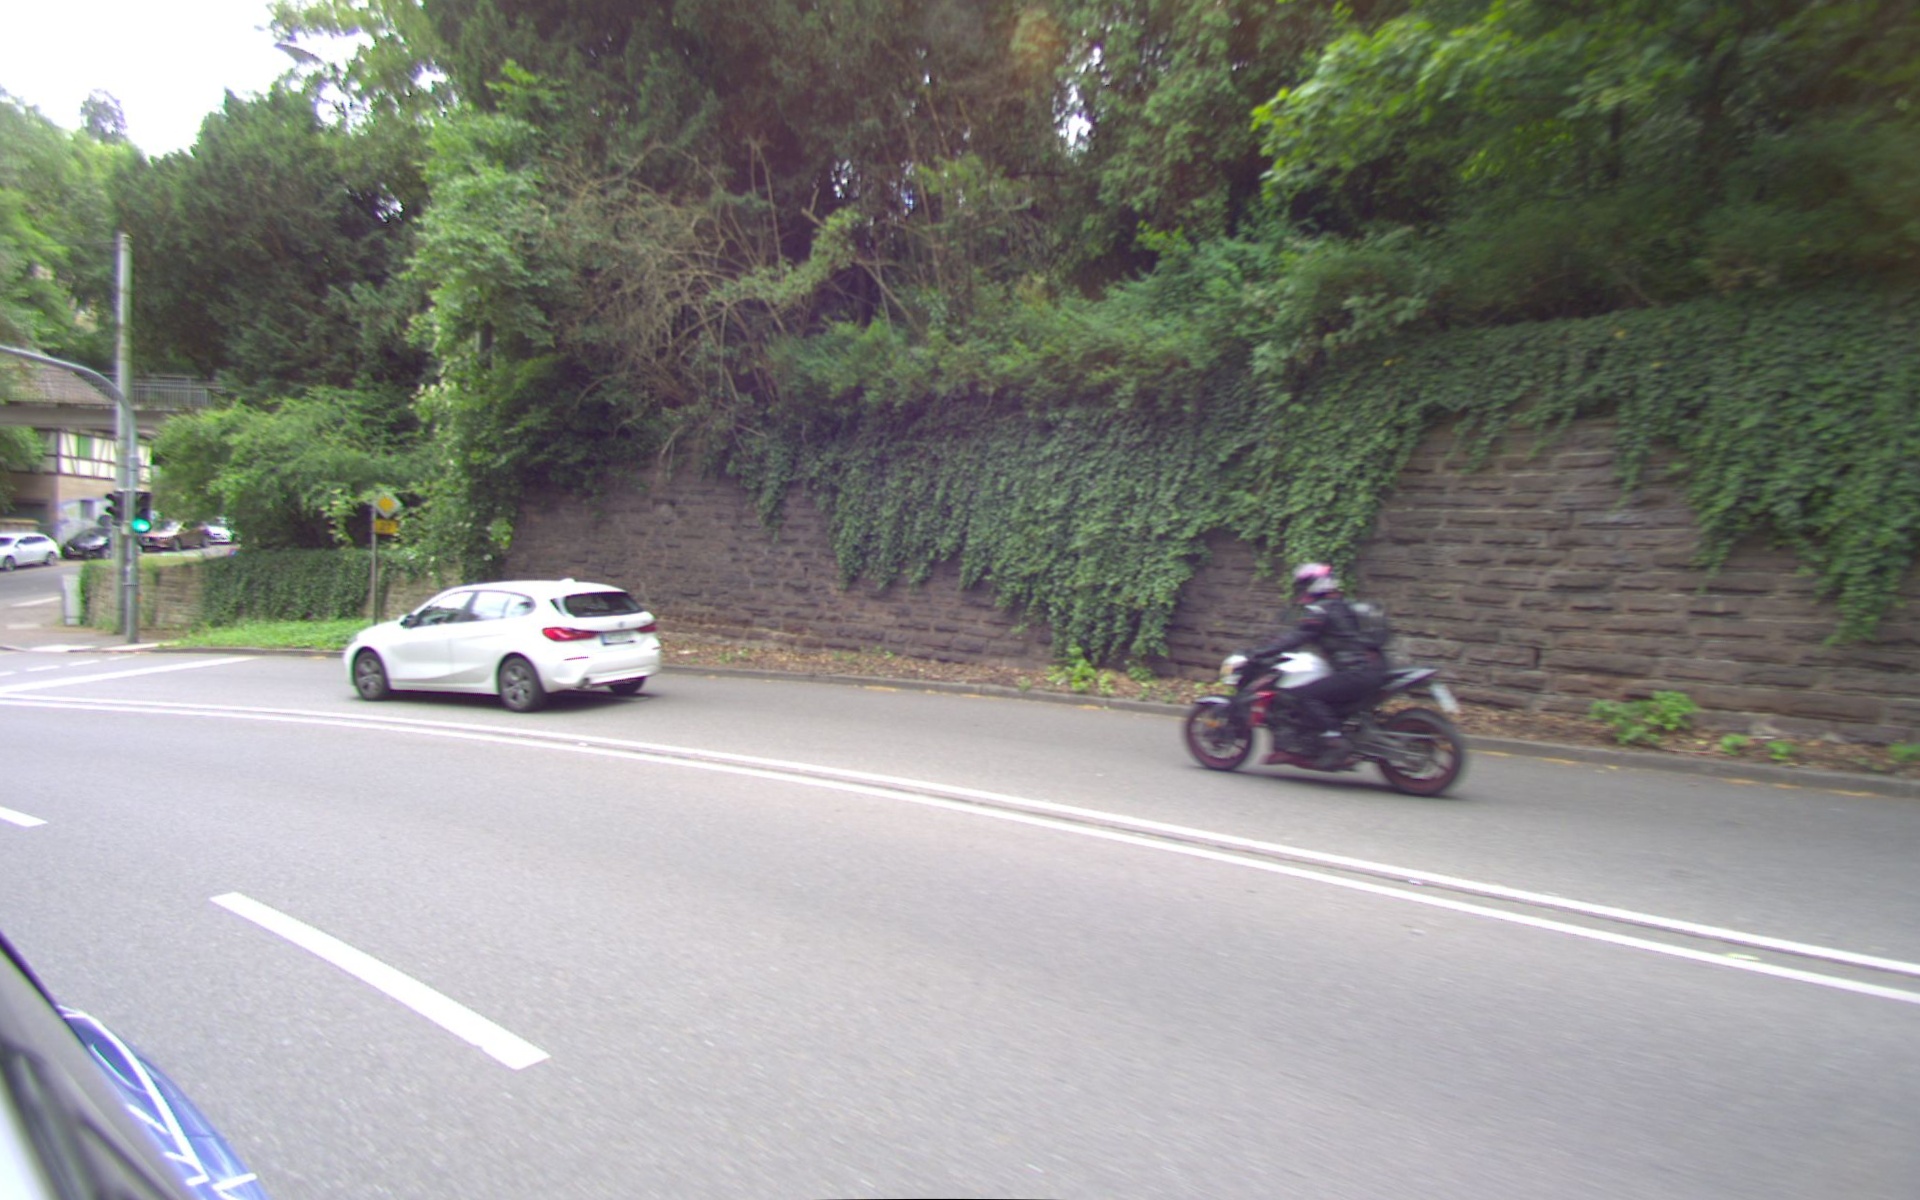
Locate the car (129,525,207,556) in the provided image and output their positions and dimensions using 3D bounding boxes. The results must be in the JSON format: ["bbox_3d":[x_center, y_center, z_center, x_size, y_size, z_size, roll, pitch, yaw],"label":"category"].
[{"bbox_3d":[-41.367,-3.132,52.938,1.576,1.338,3.923,2,6,-11],"label":"car"}]

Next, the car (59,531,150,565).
[{"bbox_3d":[-40.525,-2.510,48.043,1.576,1.338,3.923,2,6,-11],"label":"car"}]

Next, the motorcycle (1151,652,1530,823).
[{"bbox_3d":[2.619,0.892,7.257,0.799,0.896,2.431,1,0,-45],"label":"motorcycle"}]

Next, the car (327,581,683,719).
[{"bbox_3d":[-5.678,0.499,12.552,4.309,1.426,1.736,1,3,28],"label":"car"}]

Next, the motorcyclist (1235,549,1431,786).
[{"bbox_3d":[2.652,0.434,7.231,0.738,1.541,1.095,1,0,-45],"label":"motorcyclist"}]

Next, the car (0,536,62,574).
[{"bbox_3d":[-39.930,-1.907,42.402,1.602,1.338,4.035,2,6,-11],"label":"car"}]

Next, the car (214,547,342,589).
[{"bbox_3d":[-27.391,-1.289,40.773,3.931,1.563,1.783,0,5,-20],"label":"car"}]

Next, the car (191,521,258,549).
[{"bbox_3d":[-42.138,-3.730,58.051,1.576,1.338,3.923,2,6,-11],"label":"car"}]
